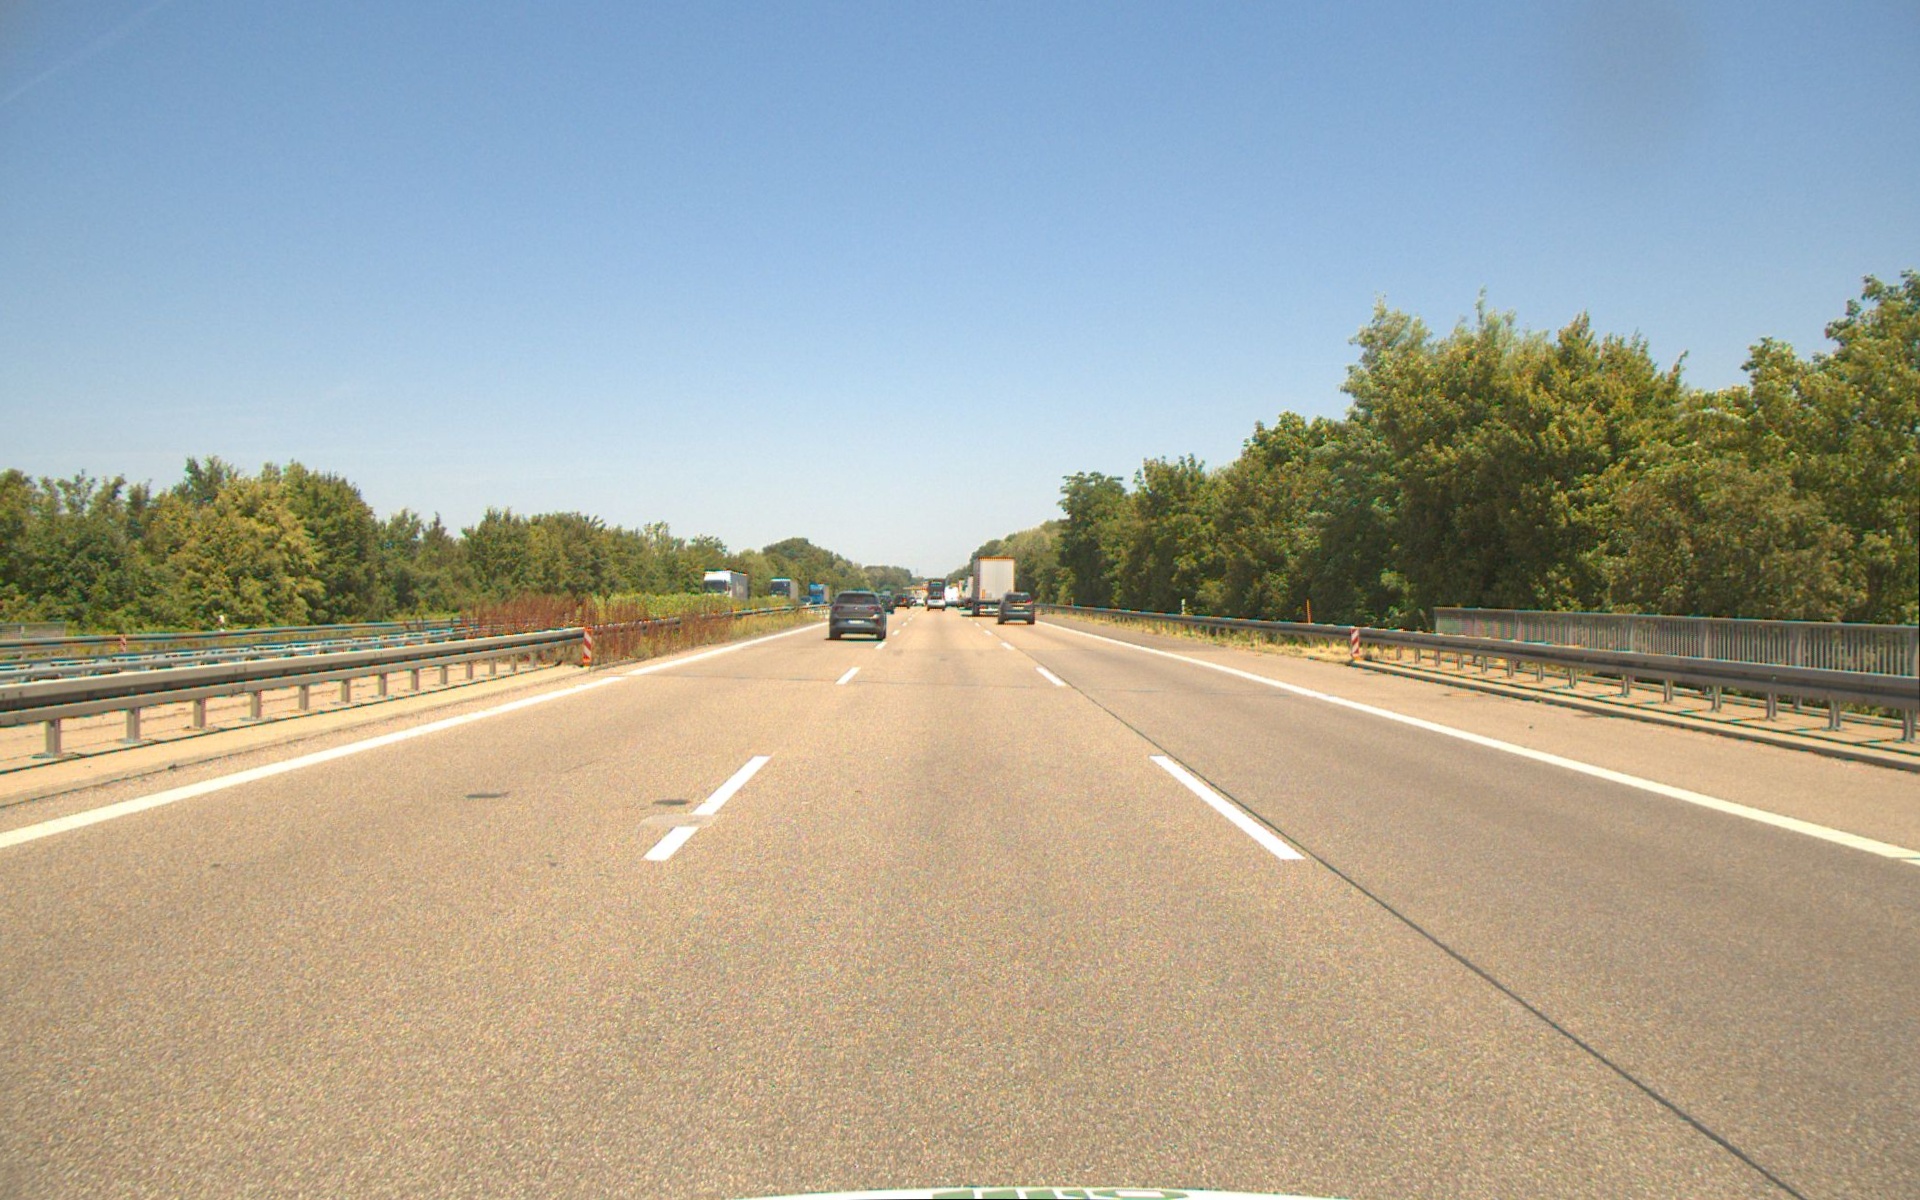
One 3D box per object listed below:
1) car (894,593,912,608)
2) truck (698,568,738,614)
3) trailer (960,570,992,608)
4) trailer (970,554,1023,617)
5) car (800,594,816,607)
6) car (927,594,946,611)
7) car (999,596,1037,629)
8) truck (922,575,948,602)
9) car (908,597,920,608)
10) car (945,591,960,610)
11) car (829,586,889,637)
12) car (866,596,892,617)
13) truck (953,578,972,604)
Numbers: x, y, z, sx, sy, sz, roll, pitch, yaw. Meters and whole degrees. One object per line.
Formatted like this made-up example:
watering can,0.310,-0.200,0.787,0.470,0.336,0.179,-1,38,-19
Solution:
car,-6.454,0.036,188.241,1.869,1.557,4.285,1,1,-1
truck,-23.460,-0.852,160.592,2.857,4.201,6.192,-3,0,-1
trailer,1.693,-1.256,180.291,3.059,3.995,9.933,1,0,-2
trailer,2.563,-0.968,120.075,3.364,4.254,13.630,1,0,-1
car,-19.638,0.032,213.547,1.871,1.557,4.278,1,1,-7
car,-2.290,0.234,160.481,1.862,1.557,4.083,1,1,-1
car,2.982,0.627,85.961,1.807,1.657,4.134,0,0,-1
truck,-3.530,-1.679,236.979,3.592,3.791,7.108,1,0,0
car,-7.163,0.369,256.906,1.869,1.557,4.285,1,1,-1
car,-1.007,0.061,213.655,1.869,2.467,4.285,1,1,-1
car,-3.259,0.354,53.980,1.723,1.557,4.285,1,1,-1
car,-6.336,0.477,129.892,1.862,1.557,4.083,1,1,-1
truck,0.332,-1.357,246.312,2.735,3.791,7.108,1,0,0
